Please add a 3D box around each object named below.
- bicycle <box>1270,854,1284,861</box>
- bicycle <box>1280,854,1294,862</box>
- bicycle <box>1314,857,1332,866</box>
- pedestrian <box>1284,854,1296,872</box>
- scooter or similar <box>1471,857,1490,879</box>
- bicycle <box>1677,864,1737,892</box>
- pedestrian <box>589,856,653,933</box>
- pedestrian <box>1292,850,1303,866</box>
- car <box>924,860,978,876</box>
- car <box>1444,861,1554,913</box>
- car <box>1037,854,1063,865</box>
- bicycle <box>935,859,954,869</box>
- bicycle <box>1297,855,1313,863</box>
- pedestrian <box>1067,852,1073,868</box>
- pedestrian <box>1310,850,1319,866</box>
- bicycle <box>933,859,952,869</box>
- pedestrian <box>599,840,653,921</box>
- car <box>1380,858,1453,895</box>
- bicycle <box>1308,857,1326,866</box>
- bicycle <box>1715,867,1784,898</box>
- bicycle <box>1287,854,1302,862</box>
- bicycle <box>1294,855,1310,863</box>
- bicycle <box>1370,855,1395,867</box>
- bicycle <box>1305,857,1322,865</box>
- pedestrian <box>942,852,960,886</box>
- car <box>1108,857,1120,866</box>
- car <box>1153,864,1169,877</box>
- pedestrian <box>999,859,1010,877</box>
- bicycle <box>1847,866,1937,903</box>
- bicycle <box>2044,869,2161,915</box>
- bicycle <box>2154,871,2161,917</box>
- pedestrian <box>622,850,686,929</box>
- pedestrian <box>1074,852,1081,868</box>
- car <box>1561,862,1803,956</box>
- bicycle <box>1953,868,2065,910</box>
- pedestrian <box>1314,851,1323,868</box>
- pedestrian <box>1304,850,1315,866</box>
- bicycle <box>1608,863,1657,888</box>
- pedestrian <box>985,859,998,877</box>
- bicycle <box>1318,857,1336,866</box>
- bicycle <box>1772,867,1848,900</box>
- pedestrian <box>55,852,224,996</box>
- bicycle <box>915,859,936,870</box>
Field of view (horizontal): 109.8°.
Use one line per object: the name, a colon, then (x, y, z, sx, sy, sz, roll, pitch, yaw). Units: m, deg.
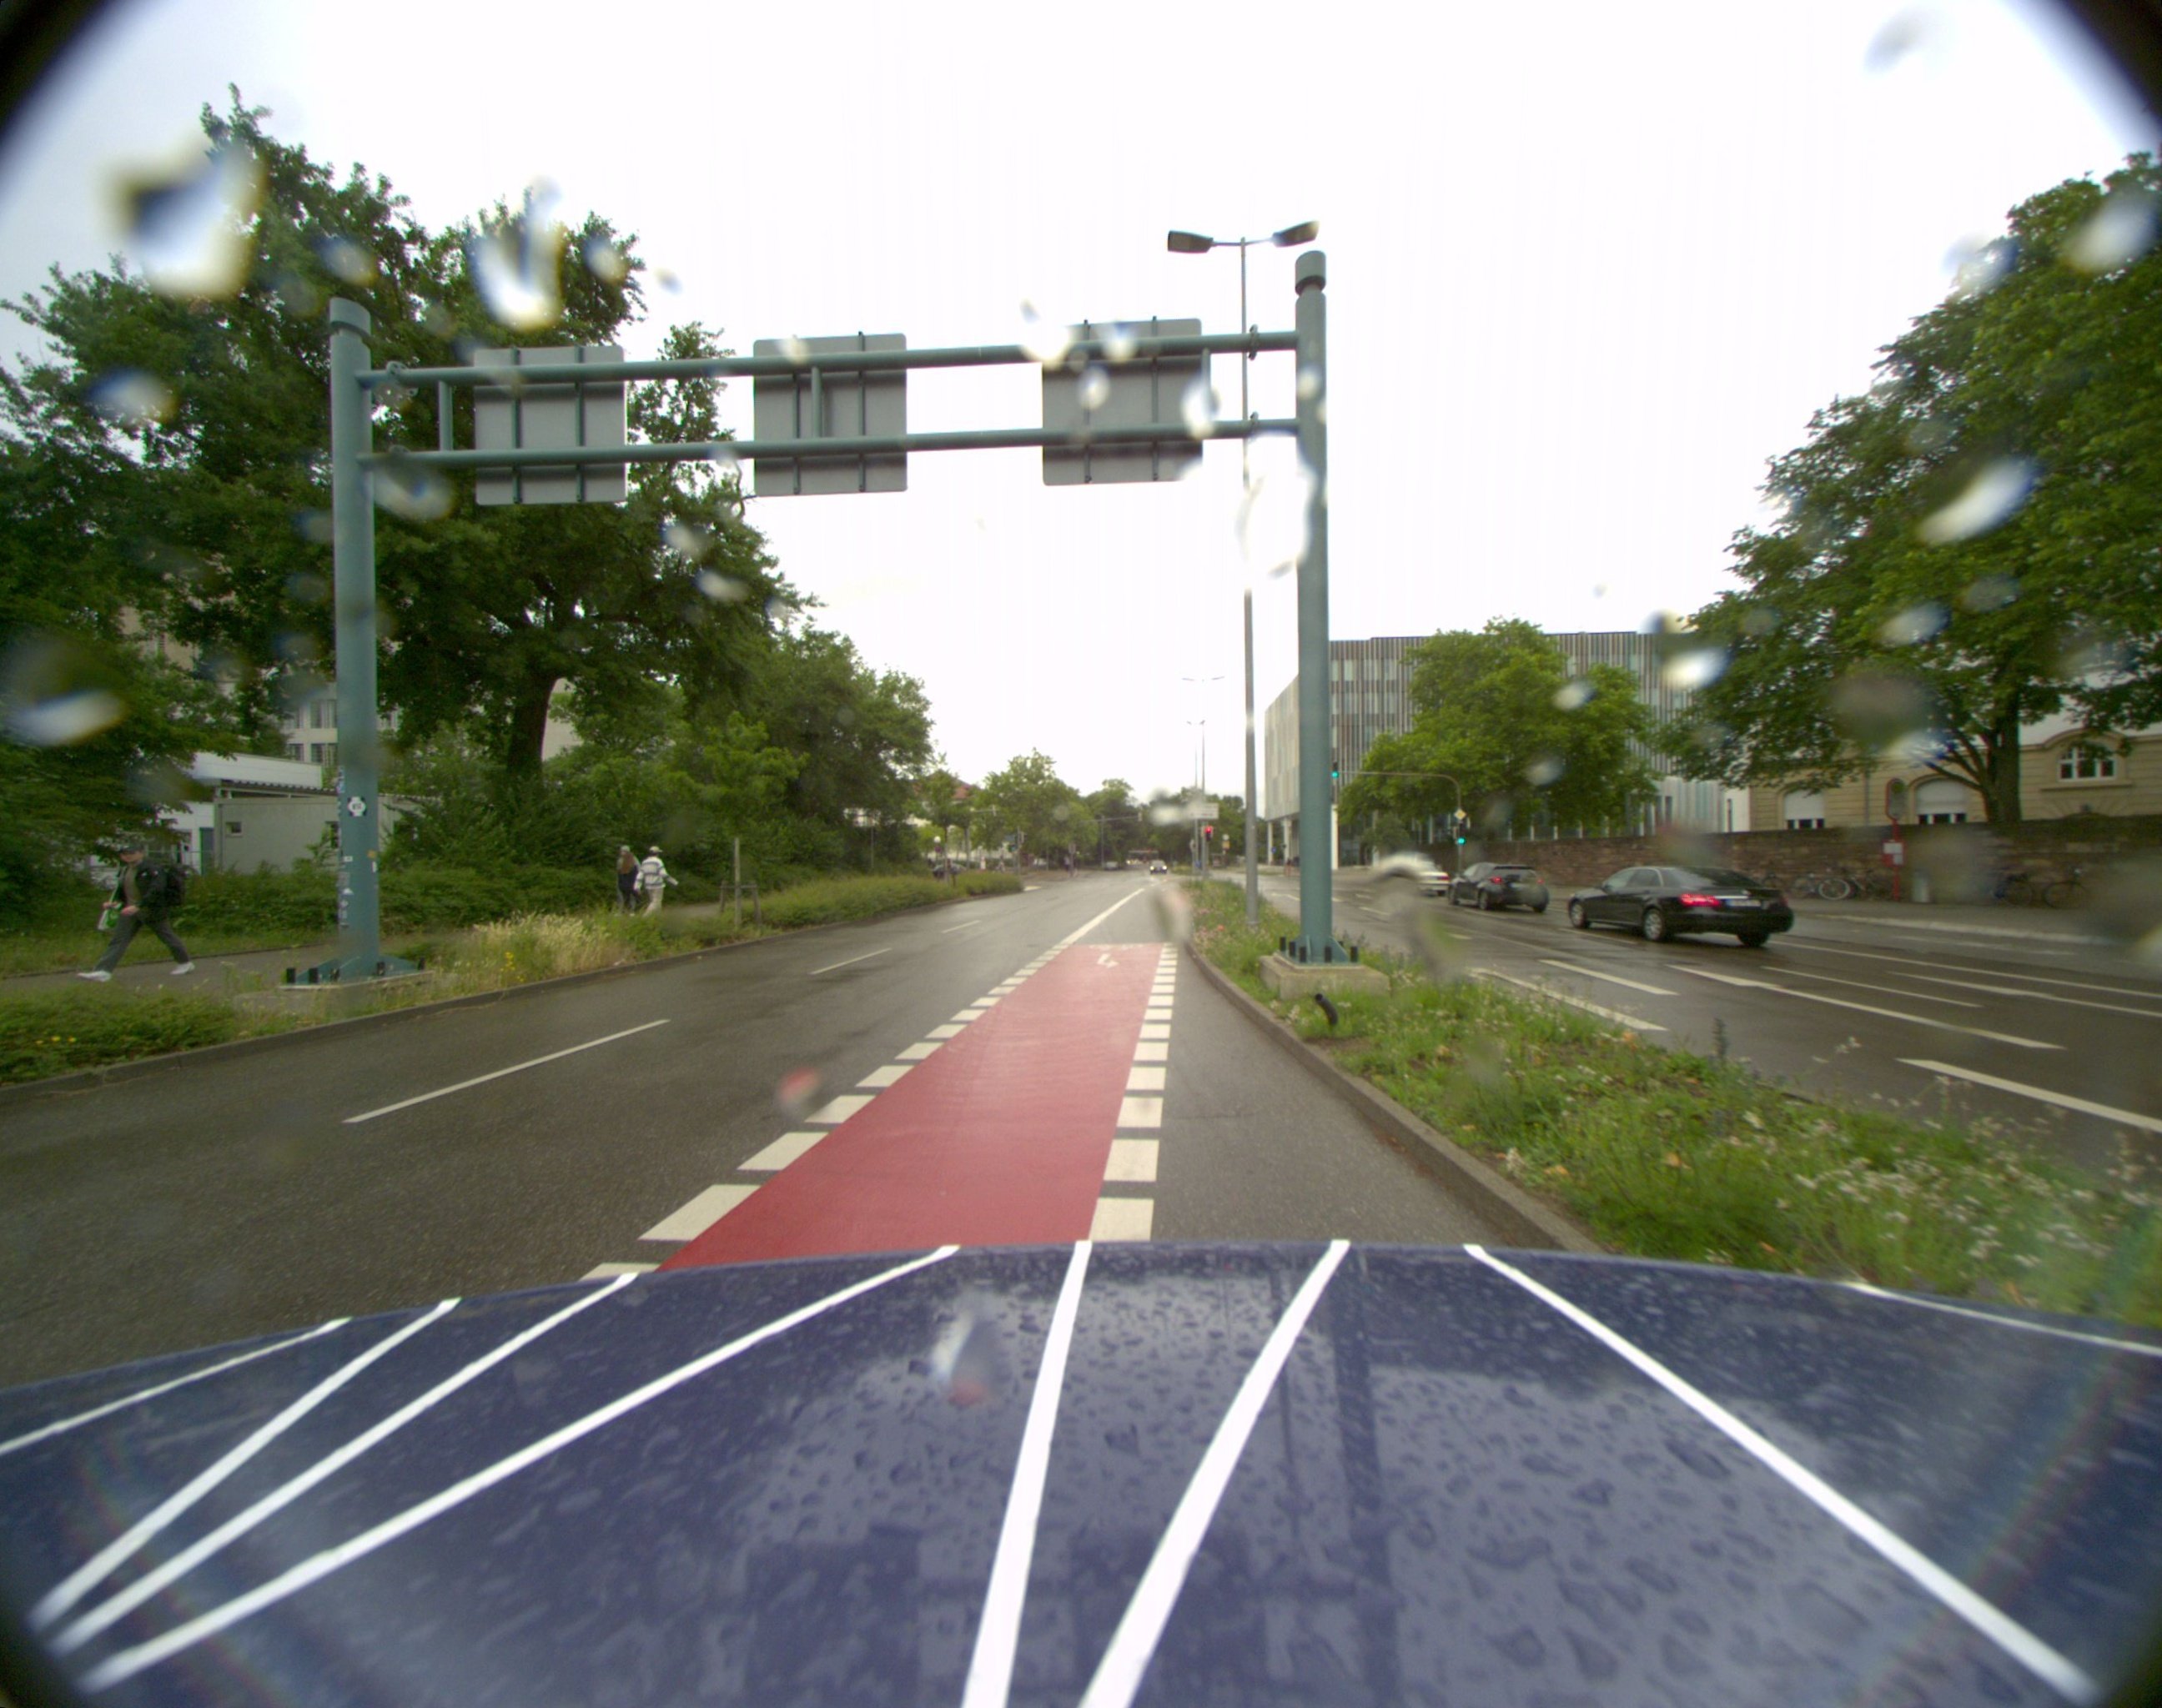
bicycle: (34.240, 0.690, 132.879, 2.281, 1.215, 0.599, 0, 0, 16)
bicycle: (34.082, 0.674, 125.854, 2.281, 1.215, 0.599, 0, 0, 16)
bicycle: (33.052, 0.964, 103.604, 2.285, 1.215, 0.598, 0, 0, -6)
pedestrian: (20.761, 0.871, 75.407, 0.787, 1.813, 0.795, -1, 0, -17)
scooter or similar: (22.943, 0.819, 43.612, 0.392, 1.191, 1.142, -7, 0, 2)
bicycle: (23.211, 0.884, 28.214, 0.733, 0.977, 1.700, -1, 0, -4)
pedestrian: (-10.494, 0.919, 17.363, 0.935, 1.693, 0.830, -2, -2, 11)
pedestrian: (25.471, 0.495, 89.369, 0.941, 1.813, 0.922, -1, 0, -24)
car: (-11.585, 1.225, 67.830, 4.385, 1.330, 1.773, -1, 3, 3)
car: (12.955, 0.961, 23.835, 1.626, 1.407, 4.068, 1, 0, 7)
car: (-5.360, 0.931, 131.626, 4.424, 1.861, 1.638, 0, 0, -1)
bicycle: (-17.120, 1.271, 95.095, 2.285, 1.215, 0.598, 0, 0, -6)
bicycle: (33.152, 0.728, 112.407, 2.281, 1.215, 0.599, 0, 0, 16)
pedestrian: (-1.259, 0.700, 86.422, 0.625, 1.813, 0.786, 0, 0, -8)
pedestrian: (26.953, 0.480, 87.696, 0.787, 1.813, 0.624, -1, 0, -17)
bicycle: (-17.154, 1.270, 94.288, 2.285, 1.215, 0.598, 0, 0, -6)
pedestrian: (-11.523, 0.648, 19.249, 0.791, 2.002, 0.829, 0, 0, 13)
car: (14.060, 0.899, 32.115, 1.599, 1.407, 4.527, 1, 0, 7)
bicycle: (32.677, 0.970, 105.057, 2.285, 1.215, 0.598, 0, 0, -6)
bicycle: (22.880, 0.965, 26.056, 0.733, 0.977, 1.864, -1, 0, 0)
bicycle: (33.253, 0.661, 118.437, 2.281, 1.215, 0.599, 0, 0, 16)
bicycle: (33.584, 0.719, 115.417, 2.281, 1.215, 0.599, 0, 0, 16)
bicycle: (30.849, 0.724, 77.731, 2.285, 1.215, 0.598, 0, 0, -6)
bicycle: (32.522, 0.974, 106.176, 2.285, 1.215, 0.598, 0, 0, -6)
pedestrian: (-7.229, 0.815, 42.237, 0.730, 1.848, 0.851, 0, 0, 13)
car: (5.103, 1.177, 116.795, 1.660, 1.259, 4.108, 0, 0, 5)
car: (8.773, 1.763, 83.617, 1.660, 1.356, 4.108, 0, 0, 5)
pedestrian: (-6.670, 1.222, 66.302, 0.878, 1.597, 0.862, -1, 0, -15)
bicycle: (23.469, 0.867, 22.035, 0.733, 0.977, 1.700, -1, 0, -4)
bicycle: (23.692, 0.854, 17.529, 0.733, 0.977, 1.700, -1, 0, -4)
bicycle: (23.895, 0.863, 15.802, 0.733, 0.977, 1.700, -1, 0, -4)
pedestrian: (-9.551, 0.794, 17.026, 0.935, 1.710, 0.830, -2, -2, 11)
pedestrian: (-0.442, 0.650, 86.613, 0.625, 1.813, 0.786, -1, 0, -15)
car: (11.866, 0.979, 15.502, 1.812, 1.531, 4.707, 1, 0, 9)
bicycle: (23.471, 0.860, 19.267, 0.733, 0.977, 1.700, -1, 0, -4)
pedestrian: (26.877, 0.627, 85.873, 0.787, 1.813, 0.624, -1, 0, -17)
pedestrian: (26.729, 0.486, 88.904, 0.940, 1.813, 0.922, -1, 0, -17)
bicycle: (23.159, 0.894, 31.946, 0.733, 0.977, 1.700, -1, 0, -4)
pedestrian: (-7.808, 1.223, 66.313, 0.878, 1.597, 0.862, -1, 0, -19)
bicycle: (33.317, 0.961, 102.957, 2.285, 1.215, 0.598, 0, 0, -6)
bicycle: (23.163, 0.928, 24.184, 0.733, 0.977, 1.700, -1, 0, -4)
pedestrian: (-12.075, 0.852, 9.784, 0.934, 1.737, 1.046, 0, 0, 13)
bicycle: (-18.392, 1.267, 89.837, 2.285, 1.215, 0.598, 0, 0, -6)
